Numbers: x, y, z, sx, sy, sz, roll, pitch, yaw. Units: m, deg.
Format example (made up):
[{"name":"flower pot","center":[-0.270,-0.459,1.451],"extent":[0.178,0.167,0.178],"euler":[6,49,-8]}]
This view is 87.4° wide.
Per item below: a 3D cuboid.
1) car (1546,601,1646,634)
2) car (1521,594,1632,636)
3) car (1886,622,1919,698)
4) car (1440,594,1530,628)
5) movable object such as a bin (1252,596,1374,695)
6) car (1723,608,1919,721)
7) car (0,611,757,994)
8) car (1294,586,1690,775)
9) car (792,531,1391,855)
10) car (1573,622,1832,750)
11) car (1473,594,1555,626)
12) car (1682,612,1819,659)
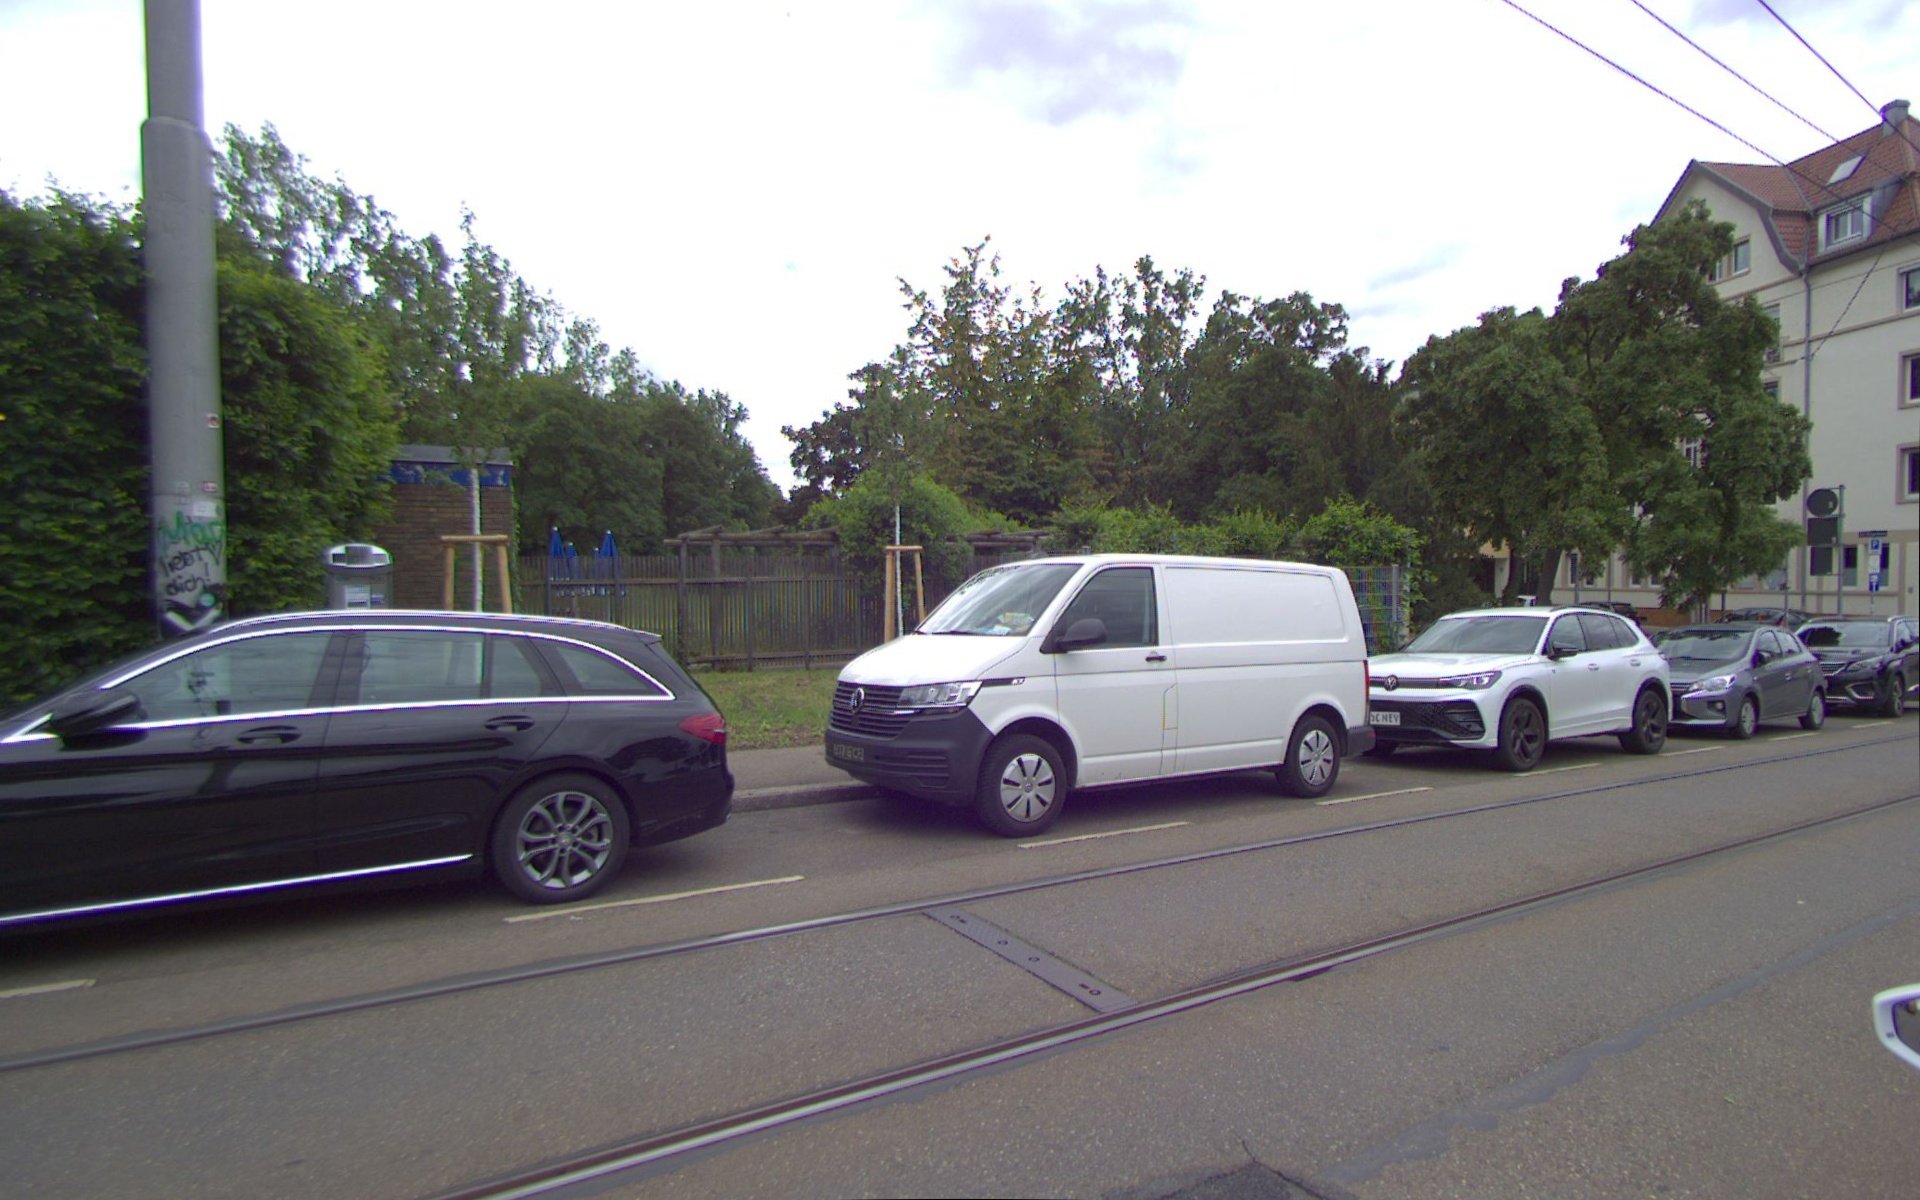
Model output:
[{"name":"car","center":[29.425,0.798,46.603],"extent":[1.841,1.372,3.996],"euler":[1,0,-6]},{"name":"car","center":[24.587,0.553,40.238],"extent":[1.727,1.459,3.995],"euler":[0,2,-6]},{"name":"car","center":[21.095,1.274,21.026],"extent":[4.113,1.497,1.611],"euler":[2,-1,-34]},{"name":"car","center":[23.902,0.458,45.920],"extent":[1.727,1.438,3.996],"euler":[1,0,-6]},{"name":"movable object such as a bin","center":[5.455,0.682,15.553],"extent":[1.189,1.391,1.269],"euler":[1,2,-31]},{"name":"car","center":[15.282,1.064,17.411],"extent":[4.398,1.709,1.957],"euler":[2,-1,-34]},{"name":"car","center":[-3.469,0.801,4.971],"extent":[4.471,1.405,1.829],"euler":[2,-1,-34]},{"name":"car","center":[6.023,0.799,11.198],"extent":[4.585,1.709,1.957],"euler":[2,-1,-34]},{"name":"car","center":[1.215,0.628,8.155],"extent":[4.686,1.938,1.957],"euler":[2,-1,-34]},{"name":"car","center":[10.457,1.135,14.082],"extent":[3.829,1.529,1.728],"euler":[2,-1,-34]},{"name":"car","center":[28.791,0.498,52.340],"extent":[1.728,1.564,3.996],"euler":[1,0,-6]},{"name":"car","center":[30.123,1.327,38.442],"extent":[1.841,1.593,3.996],"euler":[1,0,-6]}]
